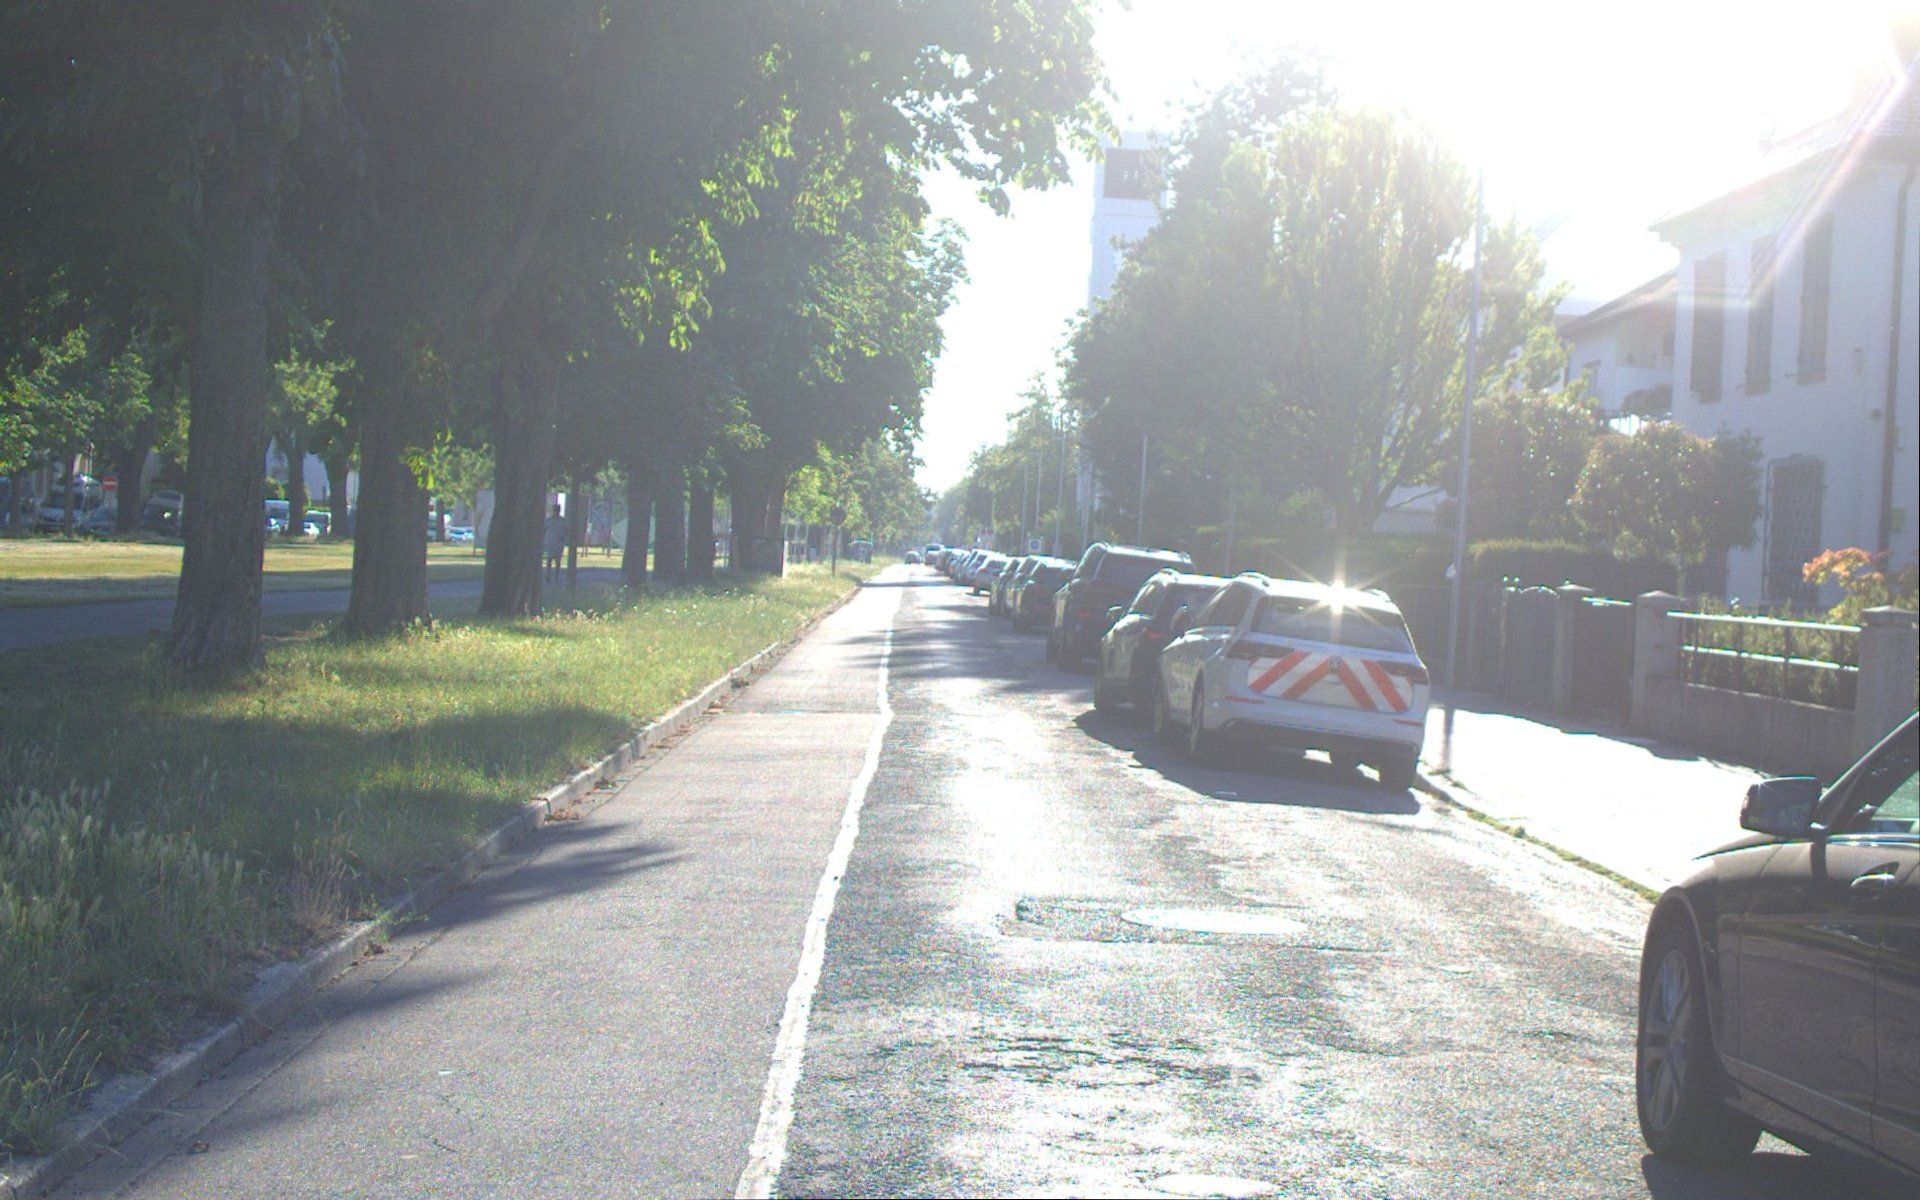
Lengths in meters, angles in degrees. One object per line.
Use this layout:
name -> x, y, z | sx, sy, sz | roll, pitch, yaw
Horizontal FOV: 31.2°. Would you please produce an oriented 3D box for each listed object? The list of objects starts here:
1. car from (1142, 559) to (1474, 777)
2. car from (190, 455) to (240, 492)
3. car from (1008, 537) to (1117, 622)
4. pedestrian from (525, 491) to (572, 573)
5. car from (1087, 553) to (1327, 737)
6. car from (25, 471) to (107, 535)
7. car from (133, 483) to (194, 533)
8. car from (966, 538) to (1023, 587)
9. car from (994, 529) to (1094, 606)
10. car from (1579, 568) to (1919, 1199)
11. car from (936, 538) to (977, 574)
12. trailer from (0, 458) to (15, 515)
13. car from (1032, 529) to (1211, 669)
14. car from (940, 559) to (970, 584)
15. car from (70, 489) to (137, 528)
car -> 2.695, 0.476, 27.676 | 1.993, 1.459, 4.550 | 4, 1, -2
car -> -43.365, -7.357, 200.168 | 1.993, 2.007, 4.485 | 0, 0, -1
car -> 1.960, -0.411, 66.852 | 1.793, 1.487, 4.675 | 3, 1, -1
pedestrian -> -8.971, -1.489, 74.969 | 0.724, 1.752, 0.993 | 3, 2, 6
car -> 2.310, 0.378, 33.323 | 1.780, 1.458, 4.594 | 5, 1, -1
car -> -42.241, -4.557, 162.542 | 2.437, 2.912, 5.818 | 0, 1, -1
car -> -36.281, -4.208, 156.669 | 1.685, 2.168, 4.315 | 3, 2, 0
car -> 1.194, -1.327, 119.882 | 1.757, 1.415, 4.072 | 9, 1, 0
car -> 1.860, -0.752, 77.580 | 1.691, 1.478, 3.930 | 7, 1, -5
car -> 2.736, 0.791, 7.243 | 1.779, 1.494, 4.398 | 5, 1, -2
car -> -0.185, -2.123, 163.550 | 1.758, 1.599, 4.359 | 2, 1, -2
trailer -> -41.816, -4.876, 145.962 | 1.993, 2.419, 4.724 | 3, 1, 0
car -> 2.170, -0.064, 47.514 | 1.993, 1.731, 4.864 | 3, 1, -2
car -> -0.344, -2.023, 245.139 | 1.980, 1.677, 4.000 | 3, 1, 0
car -> -36.418, -3.887, 146.300 | 1.685, 1.554, 4.314 | 3, 1, 0
